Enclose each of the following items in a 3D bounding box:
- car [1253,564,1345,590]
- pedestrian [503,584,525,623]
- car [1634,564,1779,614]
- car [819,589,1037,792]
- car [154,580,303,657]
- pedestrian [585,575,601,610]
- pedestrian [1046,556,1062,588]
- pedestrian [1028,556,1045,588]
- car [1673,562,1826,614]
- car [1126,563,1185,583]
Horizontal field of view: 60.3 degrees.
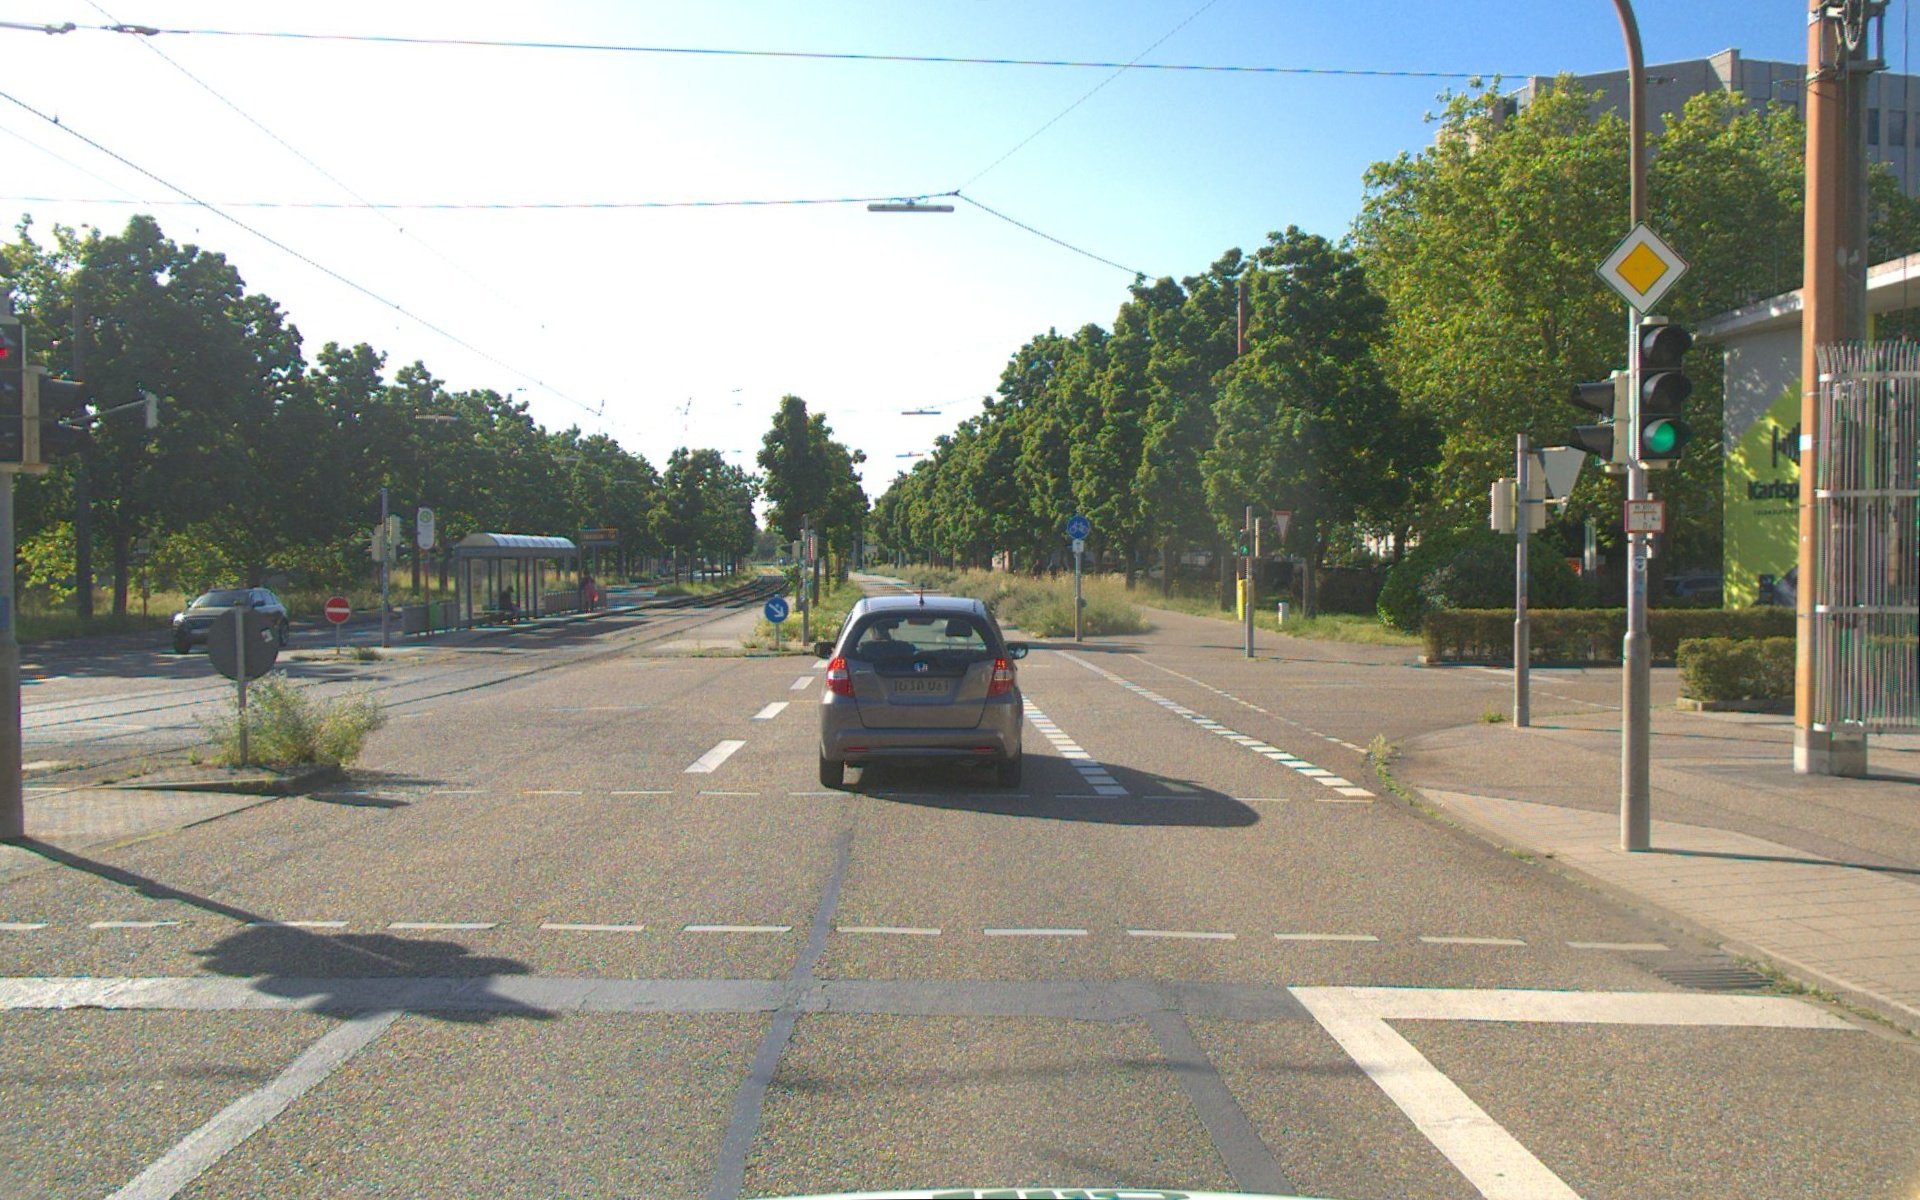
[{"bbox_3d":[18.915,-1.276,92.239,4.588,1.350,2.086,0,1,34],"label":"car"},{"bbox_3d":[-15.185,0.117,56.374,0.552,1.279,0.580,-3,0,-2],"label":"pedestrian"},{"bbox_3d":[26.536,-0.399,58.842,4.371,1.715,1.892,0,1,-7],"label":"car"},{"bbox_3d":[-0.278,0.699,14.527,1.666,1.550,3.708,0,0,-1],"label":"car"},{"bbox_3d":[-19.919,0.446,45.282,2.052,1.841,4.790,-2,1,-3],"label":"car"},{"bbox_3d":[-15.731,-0.318,70.927,0.533,1.473,0.559,-1,0,-1],"label":"pedestrian"},{"bbox_3d":[5.666,-1.665,99.645,0.865,1.917,0.874,-1,1,-5],"label":"pedestrian"},{"bbox_3d":[4.596,-1.674,99.597,0.865,1.917,0.874,-1,1,-5],"label":"pedestrian"},{"bbox_3d":[26.843,-0.418,56.284,4.371,1.715,1.892,0,1,-7],"label":"car"},{"bbox_3d":[16.060,-2.195,136.001,4.543,1.583,1.997,-1,1,-7],"label":"car"}]
